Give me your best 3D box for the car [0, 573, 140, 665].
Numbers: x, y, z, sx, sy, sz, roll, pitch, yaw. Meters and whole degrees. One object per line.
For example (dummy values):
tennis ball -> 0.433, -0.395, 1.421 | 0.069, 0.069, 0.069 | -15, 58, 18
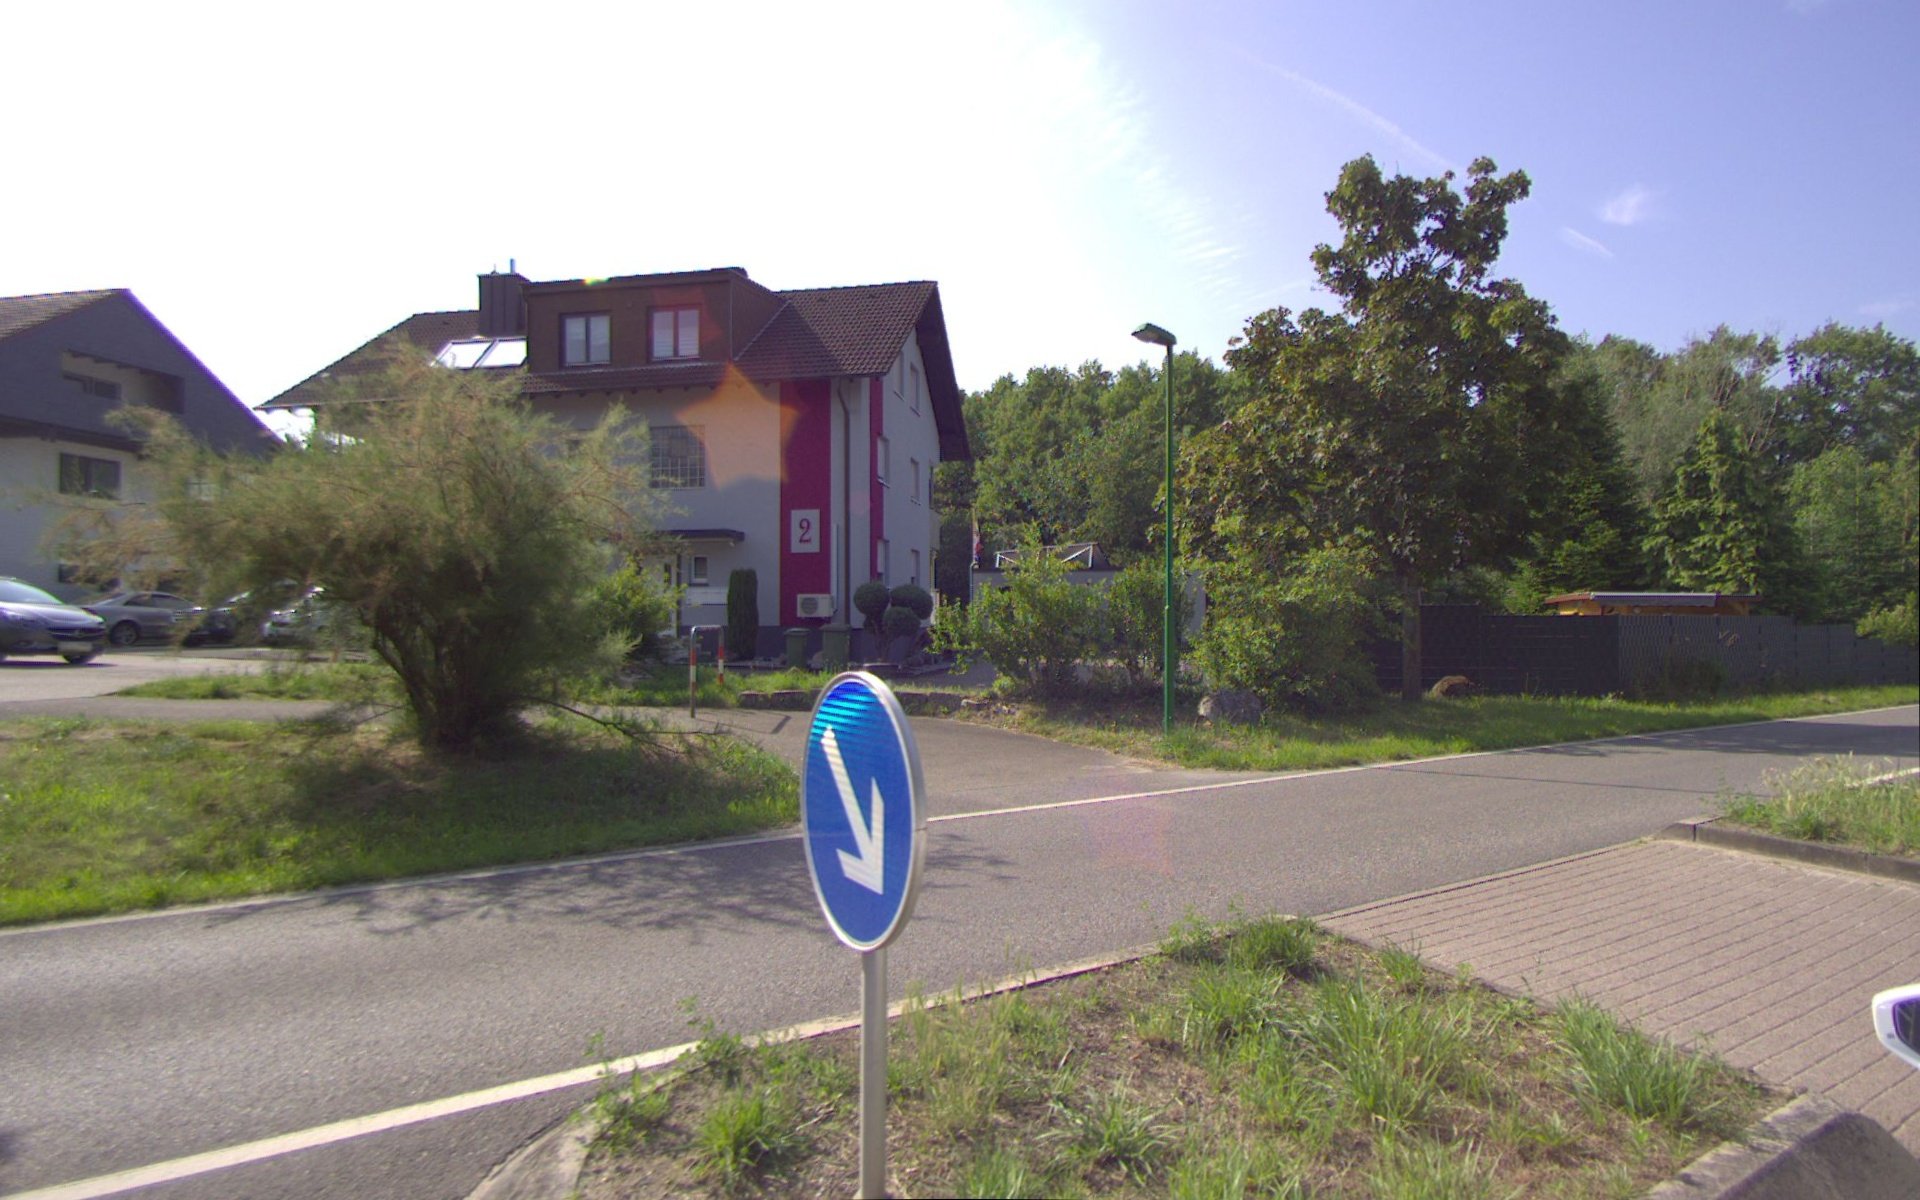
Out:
car -> -16.887, 0.325, 17.395 | 4.148, 1.482, 1.870 | 0, -1, 9

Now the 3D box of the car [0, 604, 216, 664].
car -> -21.668, 0.834, 25.607 | 1.776, 1.390, 4.085 | 0, -1, 17

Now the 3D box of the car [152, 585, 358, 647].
car -> -18.201, 0.425, 26.173 | 1.832, 1.467, 4.140 | 0, -1, 17

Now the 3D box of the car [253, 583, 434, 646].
car -> -15.693, 0.390, 25.785 | 1.713, 1.482, 3.773 | 0, -1, 17
